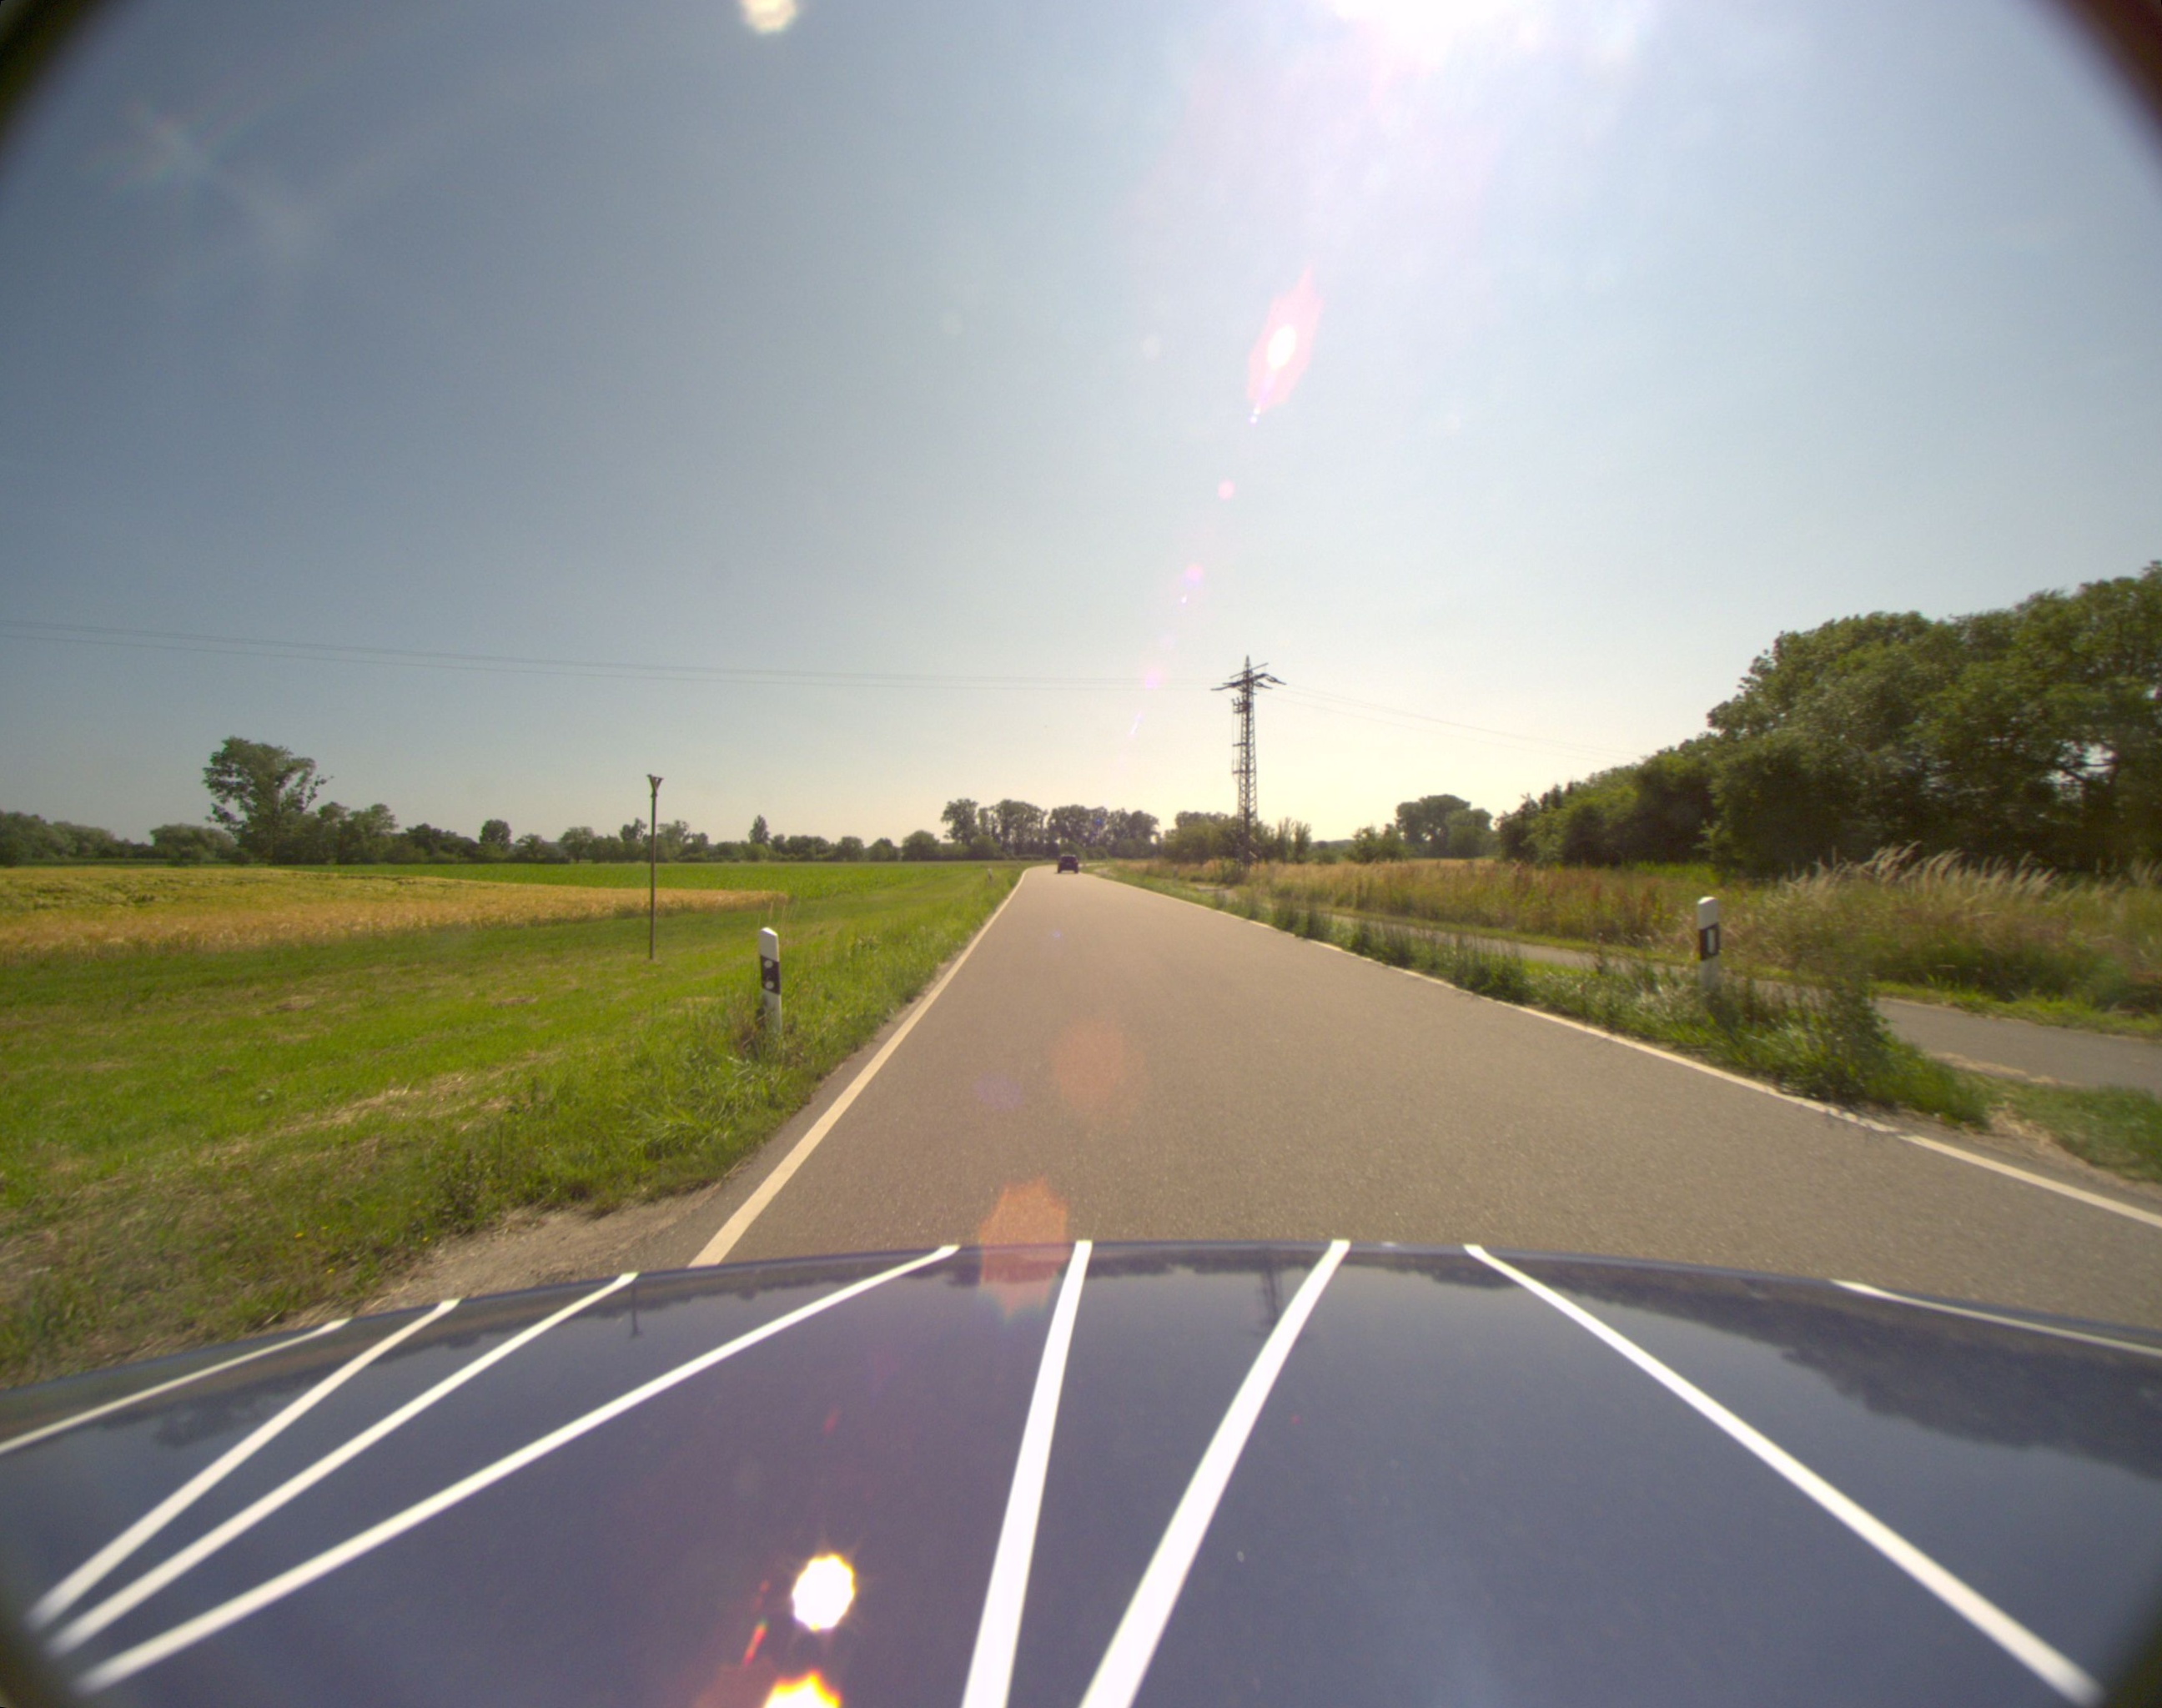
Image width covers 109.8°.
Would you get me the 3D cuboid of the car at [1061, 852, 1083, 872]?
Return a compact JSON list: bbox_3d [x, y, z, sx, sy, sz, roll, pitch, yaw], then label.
[{"bbox_3d":[-0.903,0.733,72.482,1.871,1.742,4.295,1,0,-3],"label":"car"}]
